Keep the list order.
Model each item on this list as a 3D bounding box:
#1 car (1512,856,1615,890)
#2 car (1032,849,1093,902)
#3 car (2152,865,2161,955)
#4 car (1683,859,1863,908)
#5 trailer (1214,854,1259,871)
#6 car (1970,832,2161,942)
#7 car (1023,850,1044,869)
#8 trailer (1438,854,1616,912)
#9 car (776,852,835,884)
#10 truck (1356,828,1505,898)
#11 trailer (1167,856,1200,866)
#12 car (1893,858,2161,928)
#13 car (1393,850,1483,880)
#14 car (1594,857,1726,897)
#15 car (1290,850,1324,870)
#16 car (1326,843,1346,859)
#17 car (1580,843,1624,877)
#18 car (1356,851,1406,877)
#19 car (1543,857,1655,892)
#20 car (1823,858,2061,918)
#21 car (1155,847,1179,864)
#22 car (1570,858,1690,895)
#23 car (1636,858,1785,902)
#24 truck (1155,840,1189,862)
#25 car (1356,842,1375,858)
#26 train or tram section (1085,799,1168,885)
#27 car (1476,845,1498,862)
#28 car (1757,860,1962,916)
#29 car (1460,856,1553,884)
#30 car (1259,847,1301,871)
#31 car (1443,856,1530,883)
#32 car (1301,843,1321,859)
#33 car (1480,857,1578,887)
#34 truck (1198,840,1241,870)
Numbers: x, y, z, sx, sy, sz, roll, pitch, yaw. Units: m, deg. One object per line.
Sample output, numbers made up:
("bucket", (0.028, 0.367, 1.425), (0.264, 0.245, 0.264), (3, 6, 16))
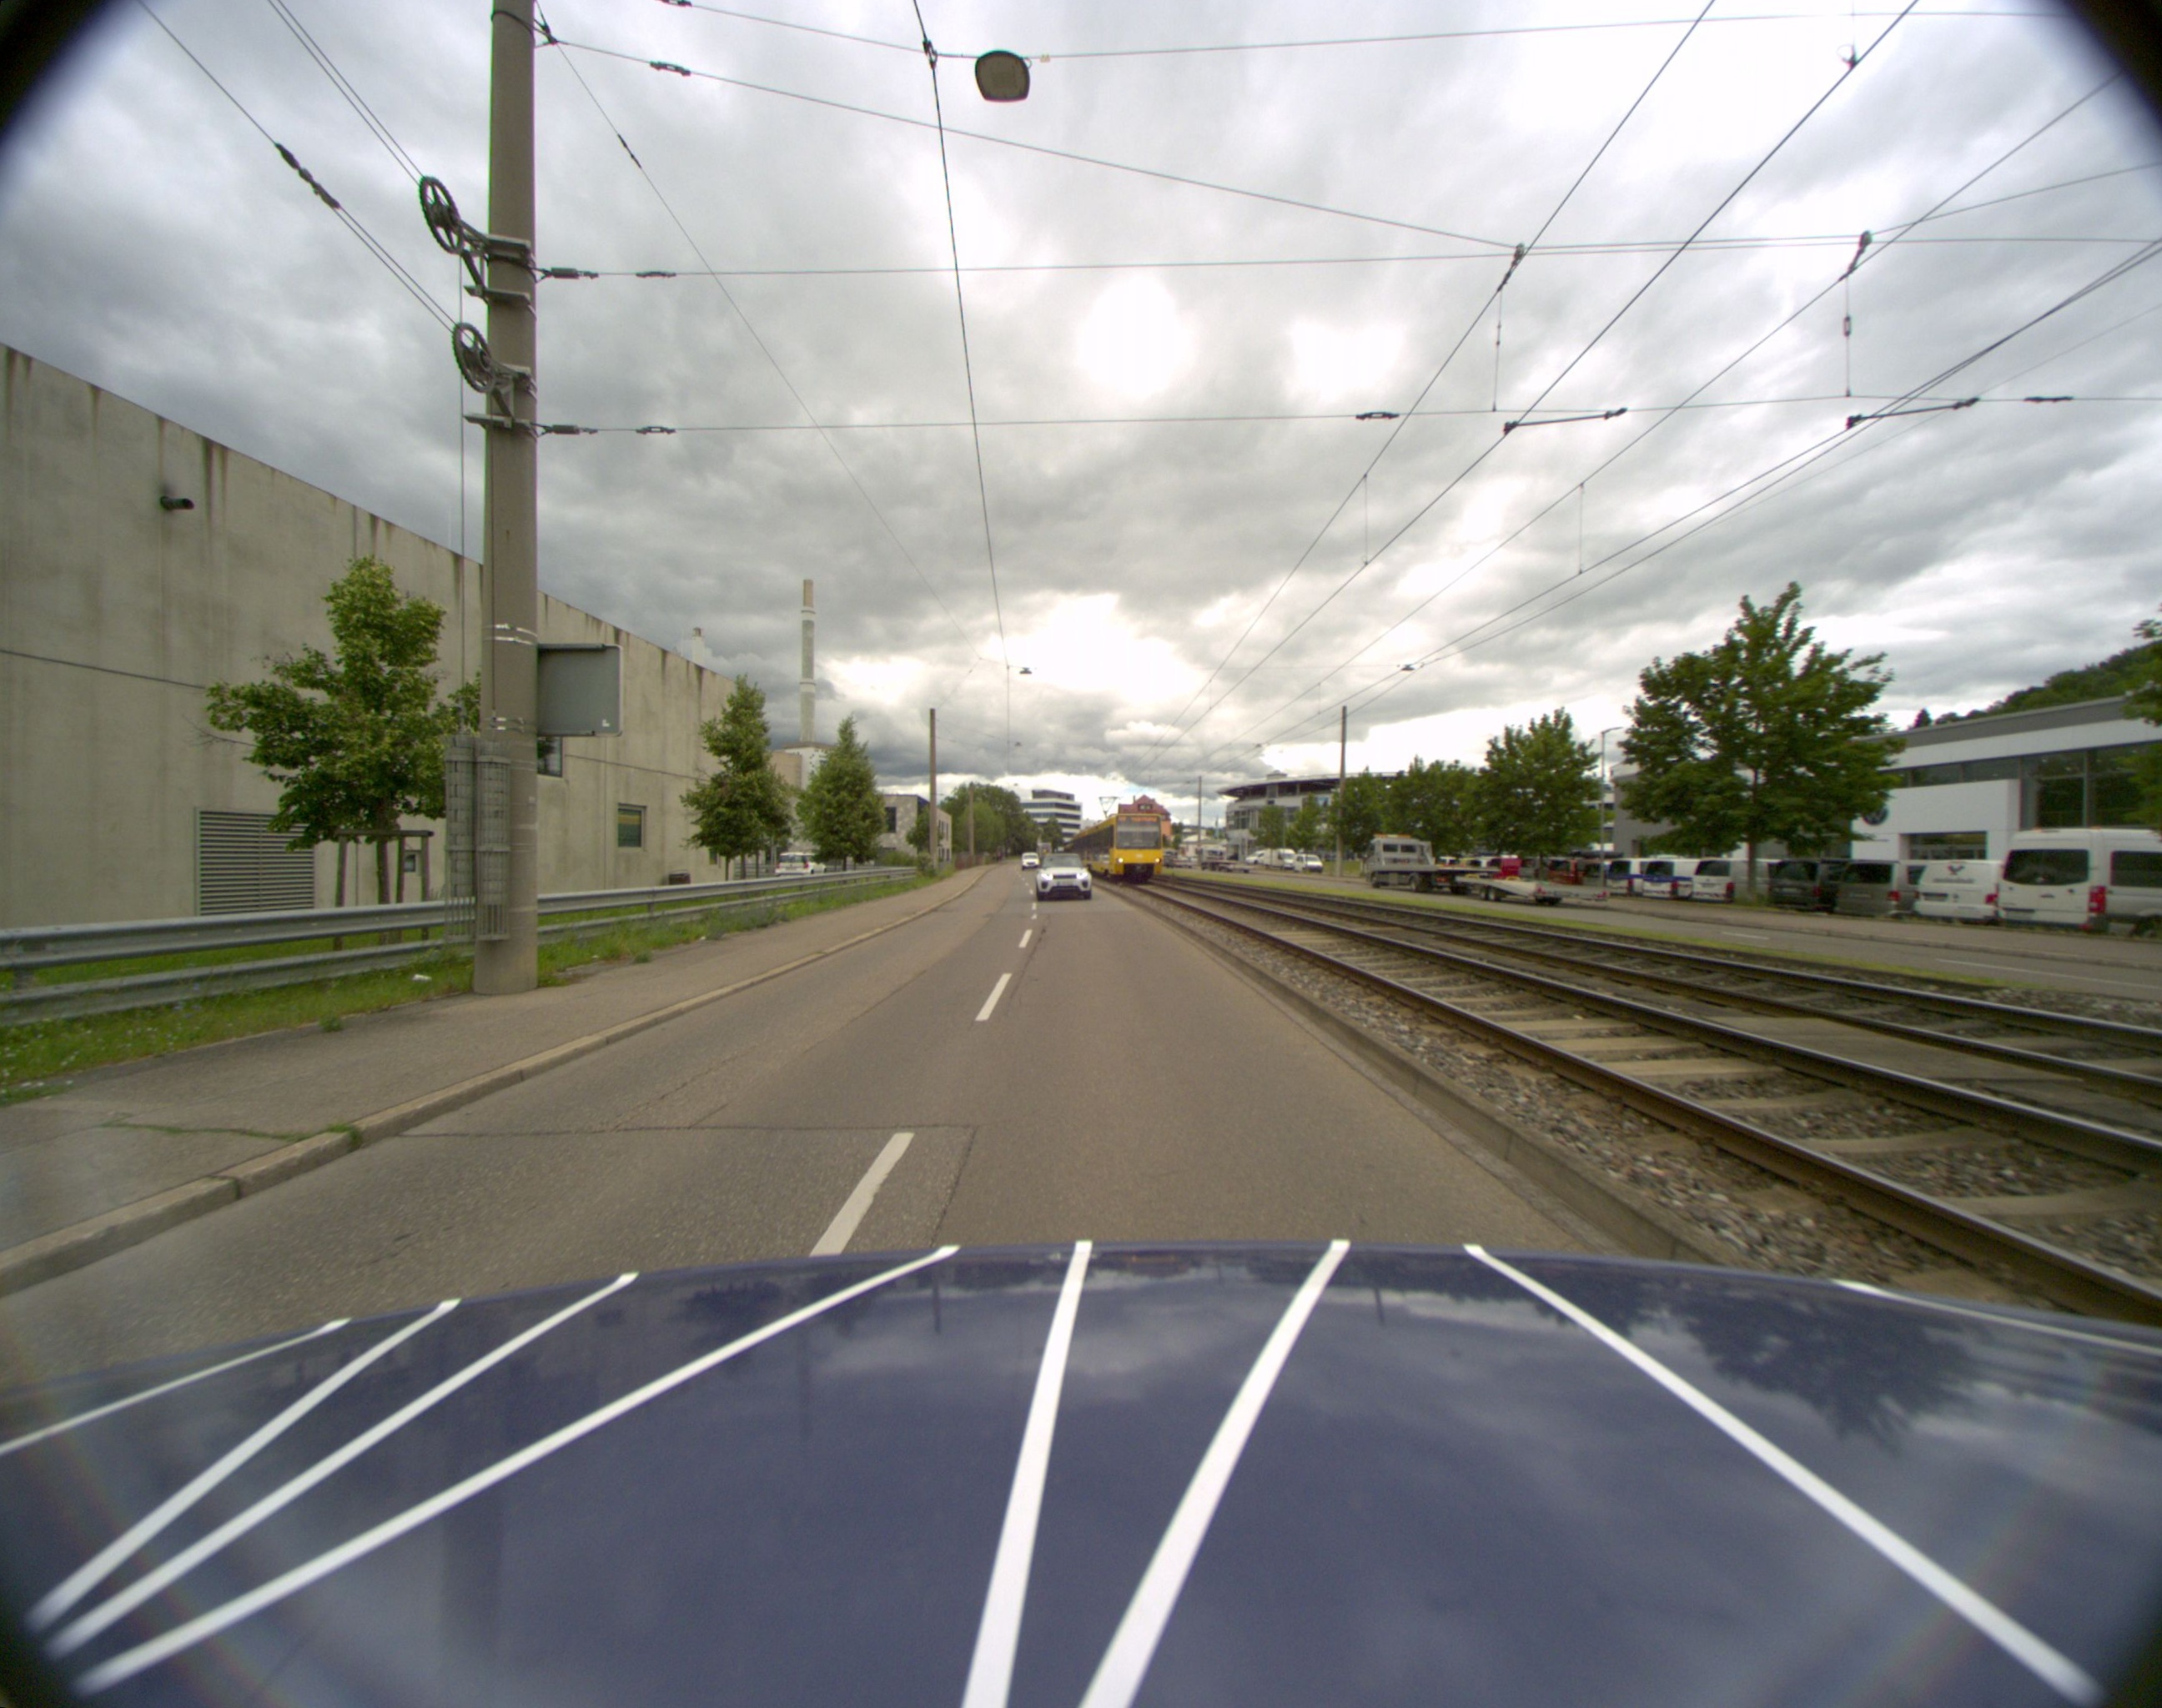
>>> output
("car", (25.022, 0.957, 39.528), (3.995, 1.655, 2.049), (0, 0, 6))
("car", (-0.735, 0.730, 27.451), (1.999, 1.718, 3.999), (-2, 0, -3))
("car", (24.211, 1.156, 14.501), (4.375, 1.834, 2.005), (0, 0, 5))
("car", (24.333, 1.014, 26.891), (4.374, 1.608, 2.005), (0, 0, 5))
("trailer", (15.346, 0.842, 75.507), (2.765, 1.486, 7.223), (2, 0, -2))
("car", (23.347, 0.693, 16.853), (4.506, 2.298, 2.126), (0, 0, 5))
("car", (-5.084, 0.575, 80.270), (2.000, 1.881, 4.624), (0, 0, -6))
("trailer", (15.552, 0.893, 27.203), (2.388, 1.688, 6.948), (2, 0, 2))
("car", (-14.623, 0.712, 40.523), (1.754, 1.564, 4.428), (-2, 0, -4))
("truck", (15.760, 0.359, 35.253), (2.763, 2.725, 9.219), (2, 0, 1))
("trailer", (13.809, 0.934, 103.000), (3.058, 1.270, 7.004), (2, 0, -4))
("car", (24.280, 0.970, 19.638), (4.376, 1.679, 2.031), (0, 0, 1))
("car", (25.240, 0.721, 53.994), (5.700, 1.996, 2.147), (1, 1, 22))
("car", (24.516, 0.962, 32.326), (3.995, 1.608, 2.001), (0, 0, 6))
("car", (23.477, 0.603, 79.133), (1.999, 2.002, 4.806), (0, 0, -3))
("car", (32.585, -0.392, 97.057), (1.995, 2.002, 4.007), (1, 0, 24))
("car", (42.449, 0.438, 62.011), (1.995, 2.690, 4.869), (1, 1, 23))
("car", (23.869, 0.755, 60.630), (1.999, 2.002, 4.859), (0, 1, -1))
("car", (25.014, 0.950, 36.800), (3.995, 1.608, 2.001), (0, 0, 6))
("car", (24.804, 0.941, 22.050), (4.375, 1.608, 2.005), (0, 0, 5))
("car", (10.121, 0.155, 89.758), (1.999, 1.729, 4.532), (2, 1, -2))
("car", (24.994, 0.990, 34.732), (3.995, 1.608, 2.001), (0, 0, 6))
("car", (24.265, 0.987, 29.422), (3.995, 1.608, 2.001), (0, 0, 6))
("truck", (13.226, -0.440, 110.951), (3.116, 2.904, 8.958), (2, 0, -4))
("car", (35.707, -0.501, 95.194), (1.995, 2.002, 4.007), (1, 0, 24))
("train or tram section", (2.204, -0.677, 44.584), (3.397, 3.984, 16.939), (-1, 1, -1))
("car", (48.270, -0.073, 90.416), (1.995, 2.002, 4.007), (1, 1, 24))
("car", (24.967, 1.056, 24.525), (4.375, 1.676, 2.005), (0, 0, 5))
("car", (25.358, 0.923, 45.404), (4.354, 1.608, 2.121), (0, 0, 6))
("car", (22.359, 0.526, 85.481), (2.001, 2.546, 5.855), (0, 0, -14))
("car", (25.763, 0.956, 48.399), (4.345, 1.608, 2.155), (0, 0, 6))
("car", (29.695, -0.384, 98.121), (1.995, 2.002, 4.007), (1, 0, 24))
("car", (24.834, 0.969, 42.239), (4.186, 1.608, 2.064), (0, 0, 6))
("truck", (15.063, 0.106, 83.348), (2.871, 2.964, 8.452), (2, 0, -2))
